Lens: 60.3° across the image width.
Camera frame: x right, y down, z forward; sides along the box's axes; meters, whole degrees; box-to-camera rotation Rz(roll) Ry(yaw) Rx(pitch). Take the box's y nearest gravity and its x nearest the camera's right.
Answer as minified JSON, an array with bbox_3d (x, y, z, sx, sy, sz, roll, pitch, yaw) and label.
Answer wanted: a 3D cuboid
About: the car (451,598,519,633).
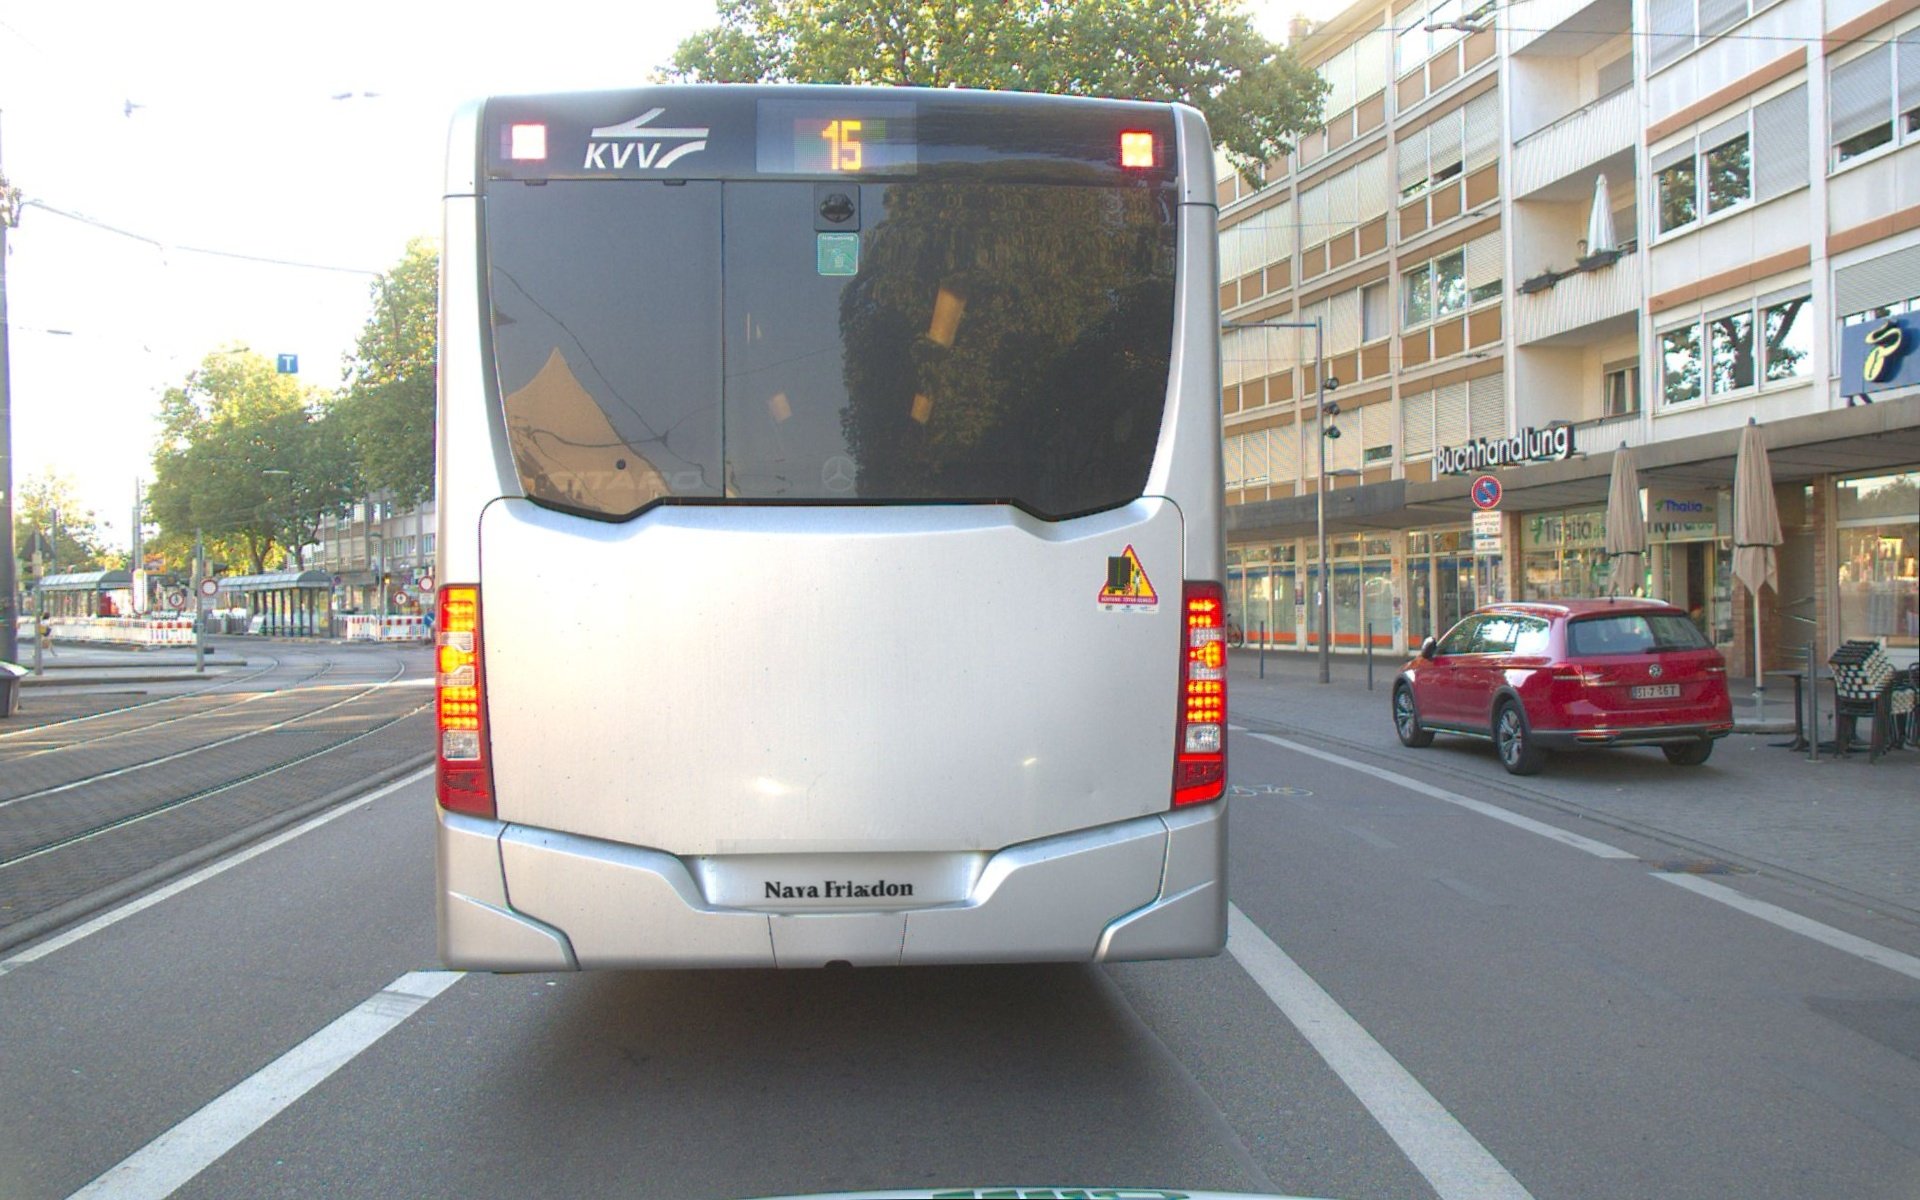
[{"bbox_3d":[-25.158,0.812,87.589,1.982,1.823,3.940,1,-1,-41],"label":"car"}]

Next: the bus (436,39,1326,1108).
[{"bbox_3d":[-0.425,-0.062,9.827,2.578,3.081,9.992,0,0,-3],"label":"bus"}]

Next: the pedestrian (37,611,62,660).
[{"bbox_3d":[-31.513,1.214,57.239,0.653,1.685,0.436,-1,-1,-44],"label":"pedestrian"}]

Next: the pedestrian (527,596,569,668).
[{"bbox_3d":[-10.296,0.792,41.374,0.878,1.758,0.517,-1,0,1],"label":"pedestrian"}]

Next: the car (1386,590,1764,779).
[{"bbox_3d":[5.690,0.704,15.939,1.735,1.508,4.299,-2,0,-4],"label":"car"}]

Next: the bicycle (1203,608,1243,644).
[{"bbox_3d":[7.249,0.709,45.632,0.406,0.961,1.431,-1,0,-20],"label":"bicycle"}]
